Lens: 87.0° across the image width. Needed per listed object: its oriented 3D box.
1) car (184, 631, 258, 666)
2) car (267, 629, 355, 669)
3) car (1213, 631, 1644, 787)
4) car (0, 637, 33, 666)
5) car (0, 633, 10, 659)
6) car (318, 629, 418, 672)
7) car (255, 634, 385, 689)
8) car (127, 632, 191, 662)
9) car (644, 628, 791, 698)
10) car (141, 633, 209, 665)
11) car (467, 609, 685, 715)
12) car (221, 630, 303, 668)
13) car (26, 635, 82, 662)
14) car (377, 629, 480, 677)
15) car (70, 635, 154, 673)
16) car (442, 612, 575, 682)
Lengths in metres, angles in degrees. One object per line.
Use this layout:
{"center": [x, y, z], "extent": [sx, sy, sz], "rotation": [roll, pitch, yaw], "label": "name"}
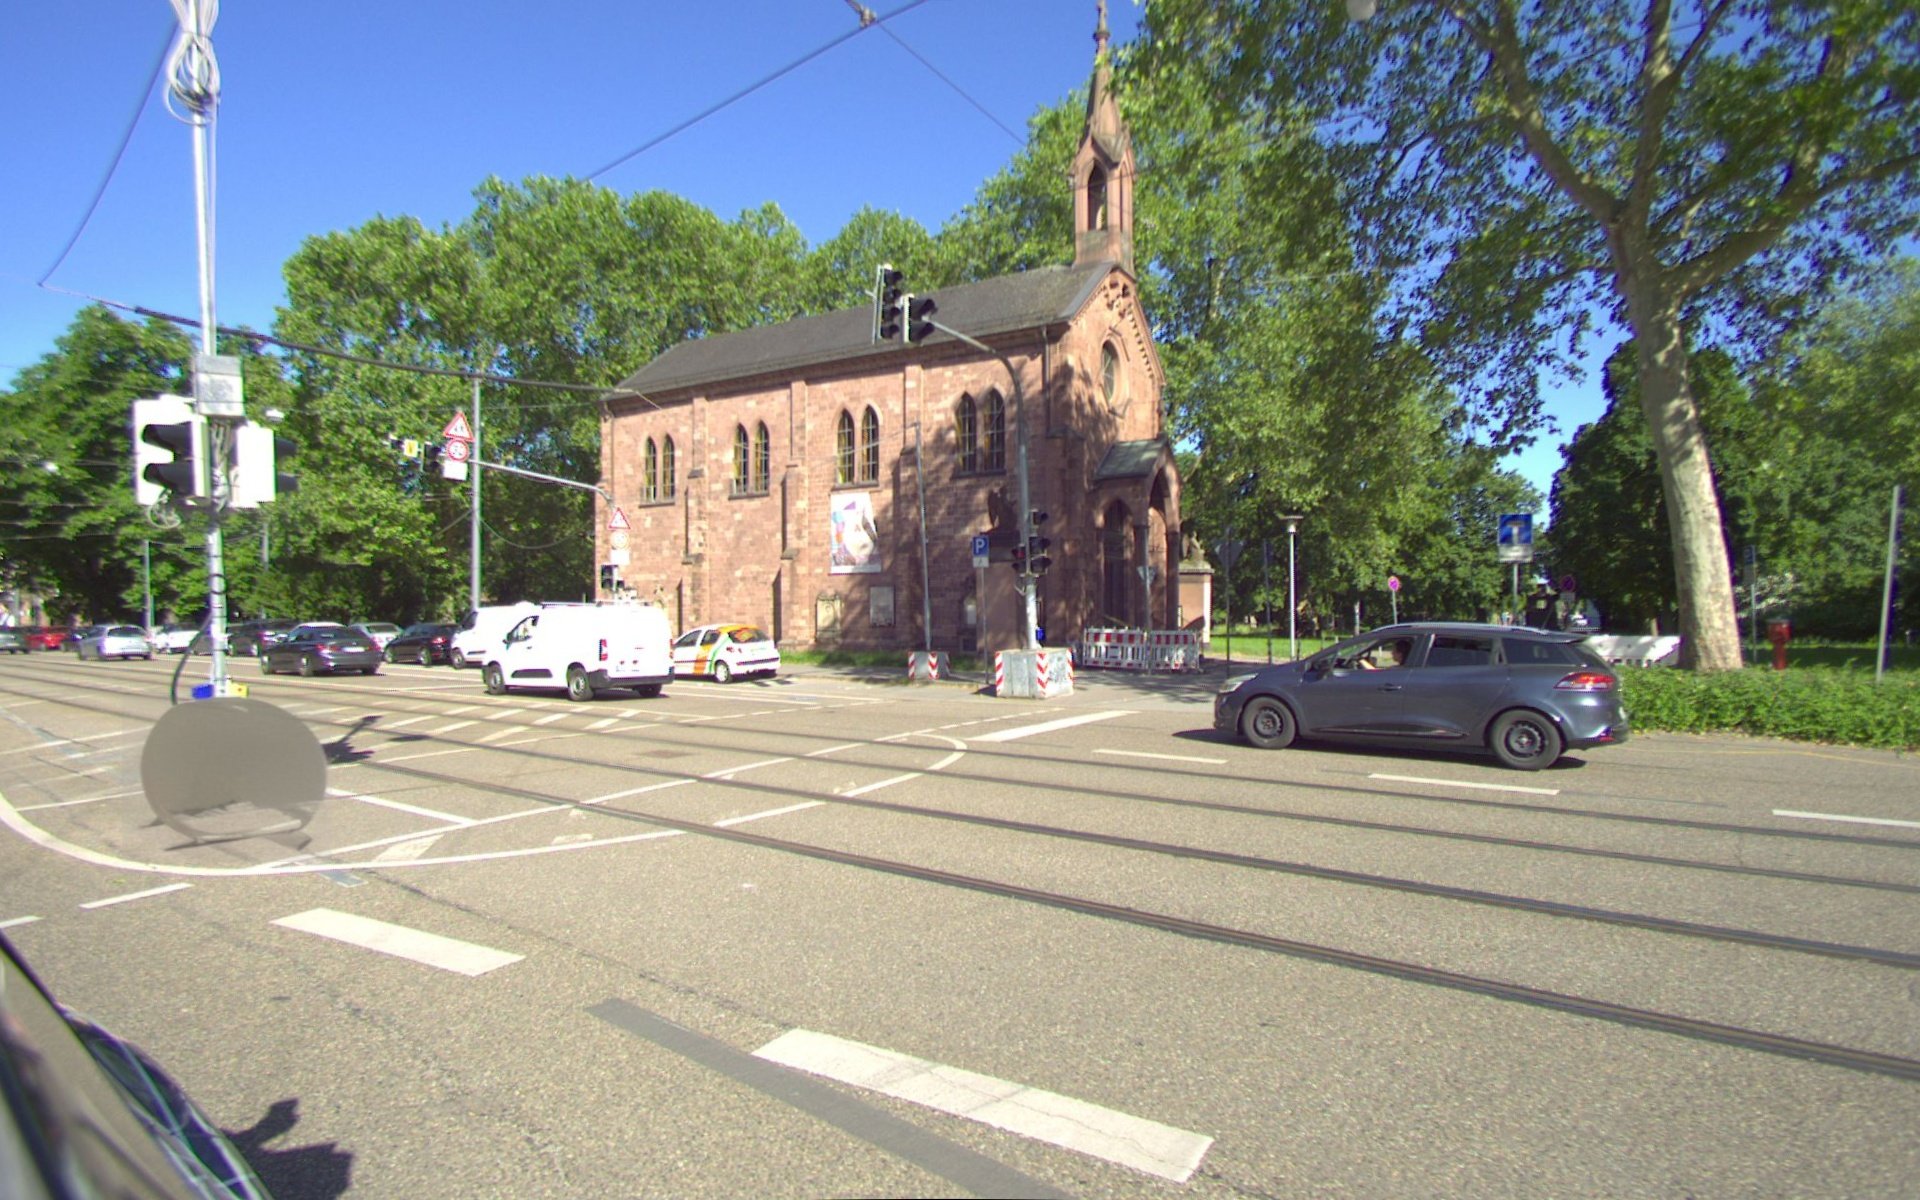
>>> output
{"center": [-35.242, 2.285, 48.229], "extent": [4.301, 1.563, 1.773], "rotation": [-2, -2, 38], "label": "car"}
{"center": [-27.122, 2.013, 42.274], "extent": [4.301, 1.563, 1.773], "rotation": [-2, -2, 38], "label": "car"}
{"center": [5.045, 1.067, 11.190], "extent": [4.081, 1.423, 1.601], "rotation": [-2, -3, 37], "label": "car"}
{"center": [-49.433, 2.643, 52.120], "extent": [4.370, 1.440, 1.776], "rotation": [-2, -2, 38], "label": "car"}
{"center": [-64.143, 2.991, 66.569], "extent": [4.301, 1.563, 1.773], "rotation": [0, -1, 38], "label": "car"}
{"center": [-22.725, 1.909, 38.779], "extent": [4.299, 1.563, 1.774], "rotation": [-2, -2, 37], "label": "car"}
{"center": [-18.400, 1.717, 29.023], "extent": [4.370, 1.440, 1.776], "rotation": [-2, -2, 38], "label": "car"}
{"center": [-44.043, 2.578, 55.621], "extent": [4.301, 1.563, 1.773], "rotation": [-2, -2, 38], "label": "car"}
{"center": [-6.348, 1.585, 26.334], "extent": [3.671, 1.585, 1.758], "rotation": [-2, 1, 37], "label": "car"}
{"center": [-40.333, 2.470, 51.951], "extent": [4.301, 1.563, 1.773], "rotation": [-2, -2, 38], "label": "car"}
{"center": [-7.794, 1.187, 20.408], "extent": [4.509, 1.905, 2.042], "rotation": [-2, -2, 37], "label": "car"}
{"center": [-30.961, 2.148, 44.845], "extent": [4.301, 1.563, 1.773], "rotation": [-2, -2, 38], "label": "car"}
{"center": [-54.374, 2.896, 60.729], "extent": [4.301, 1.563, 1.773], "rotation": [-2, -2, 38], "label": "car"}
{"center": [-18.787, 1.837, 35.727], "extent": [3.854, 1.563, 1.774], "rotation": [-2, -2, 37], "label": "car"}
{"center": [-34.768, 2.183, 41.469], "extent": [4.370, 1.440, 1.776], "rotation": [-2, -2, 38], "label": "car"}
{"center": [-14.488, 1.469, 32.359], "extent": [4.584, 2.113, 1.898], "rotation": [-2, -2, 37], "label": "car"}
